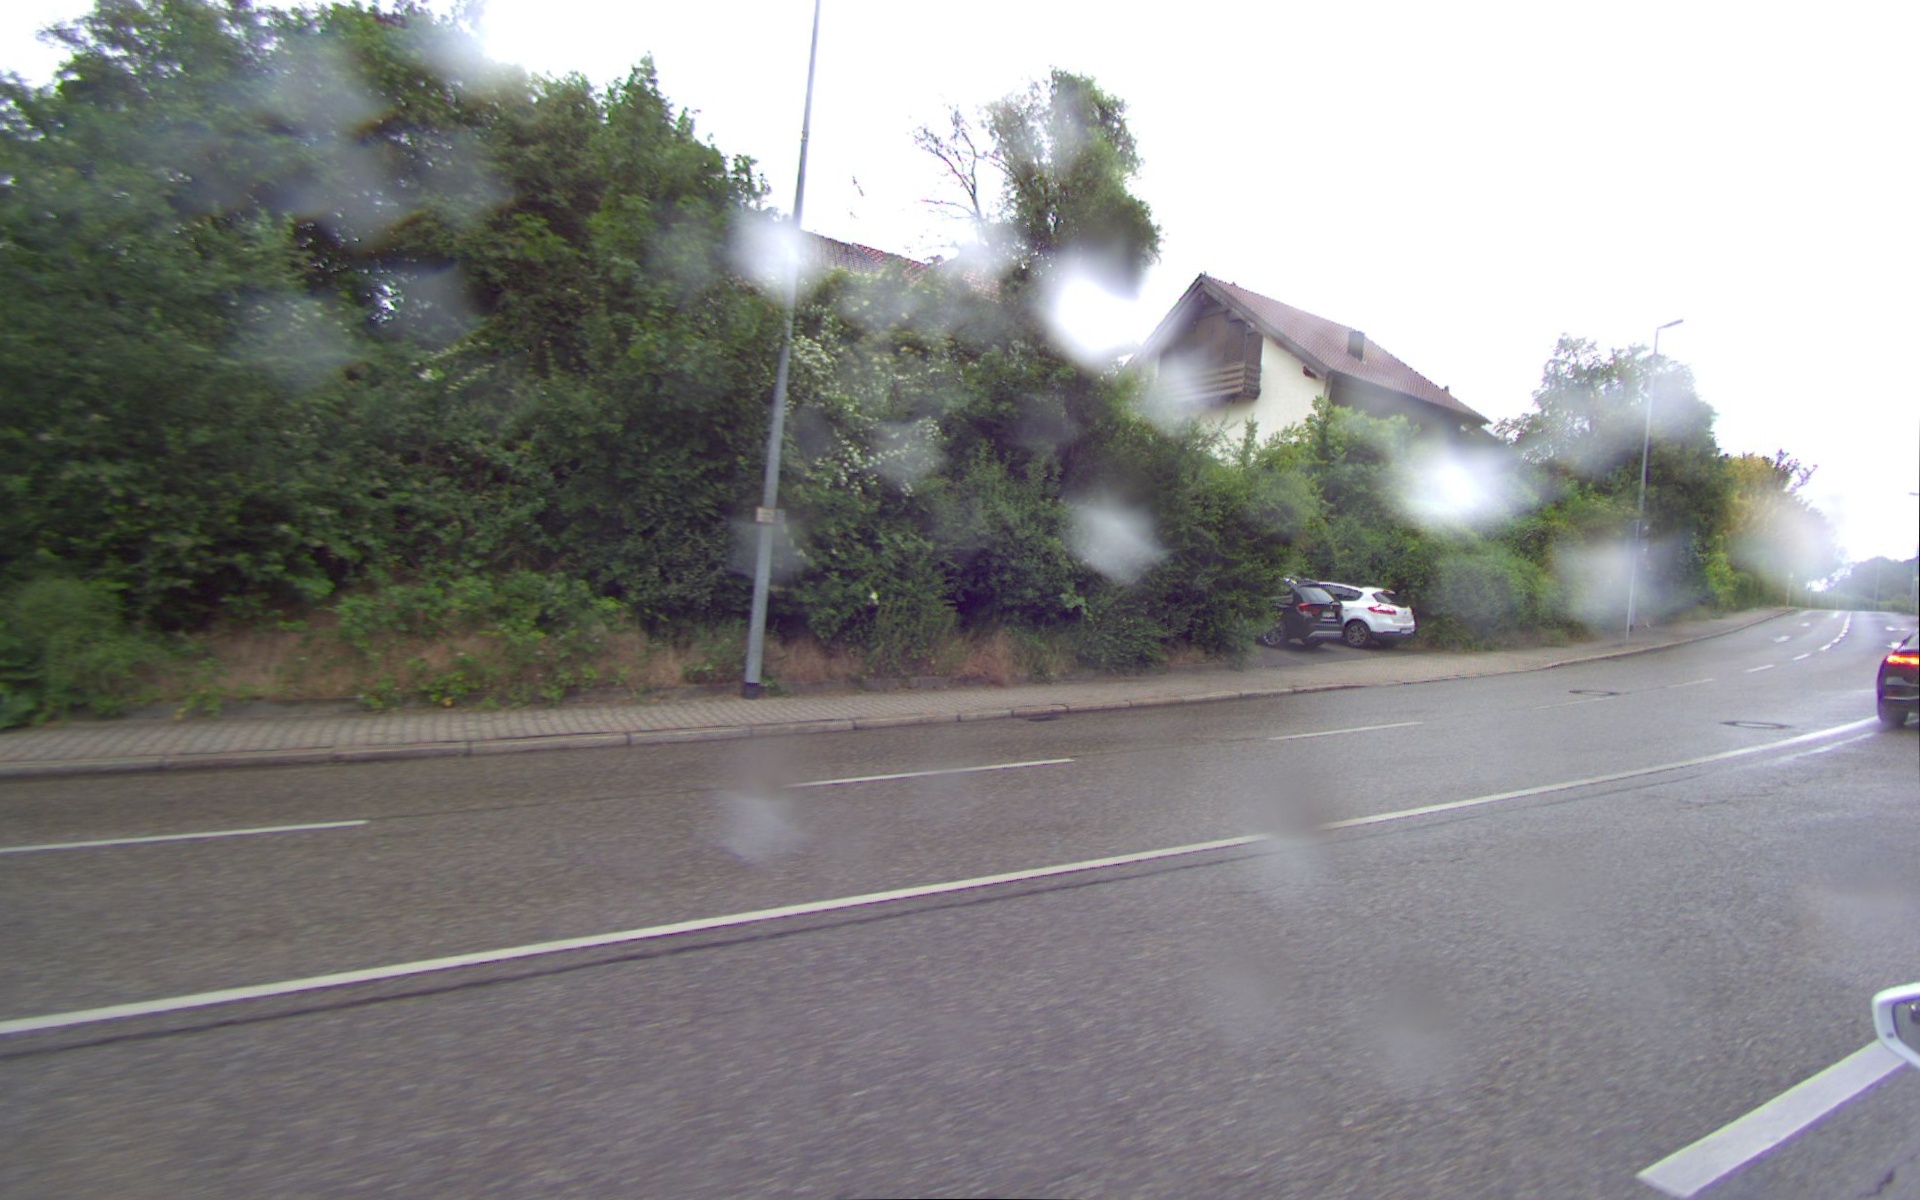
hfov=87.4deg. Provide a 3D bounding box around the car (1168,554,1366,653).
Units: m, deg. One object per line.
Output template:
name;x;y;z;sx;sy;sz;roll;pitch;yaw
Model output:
car;7.092;0.026;23.505;1.839;1.701;3.955;1;7;-38

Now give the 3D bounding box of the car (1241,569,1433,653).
car;9.263;0.226;24.930;1.842;1.467;3.950;1;7;-42

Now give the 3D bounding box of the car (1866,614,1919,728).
car;14.250;0.948;13.784;4.813;1.417;1.891;1;0;-38
